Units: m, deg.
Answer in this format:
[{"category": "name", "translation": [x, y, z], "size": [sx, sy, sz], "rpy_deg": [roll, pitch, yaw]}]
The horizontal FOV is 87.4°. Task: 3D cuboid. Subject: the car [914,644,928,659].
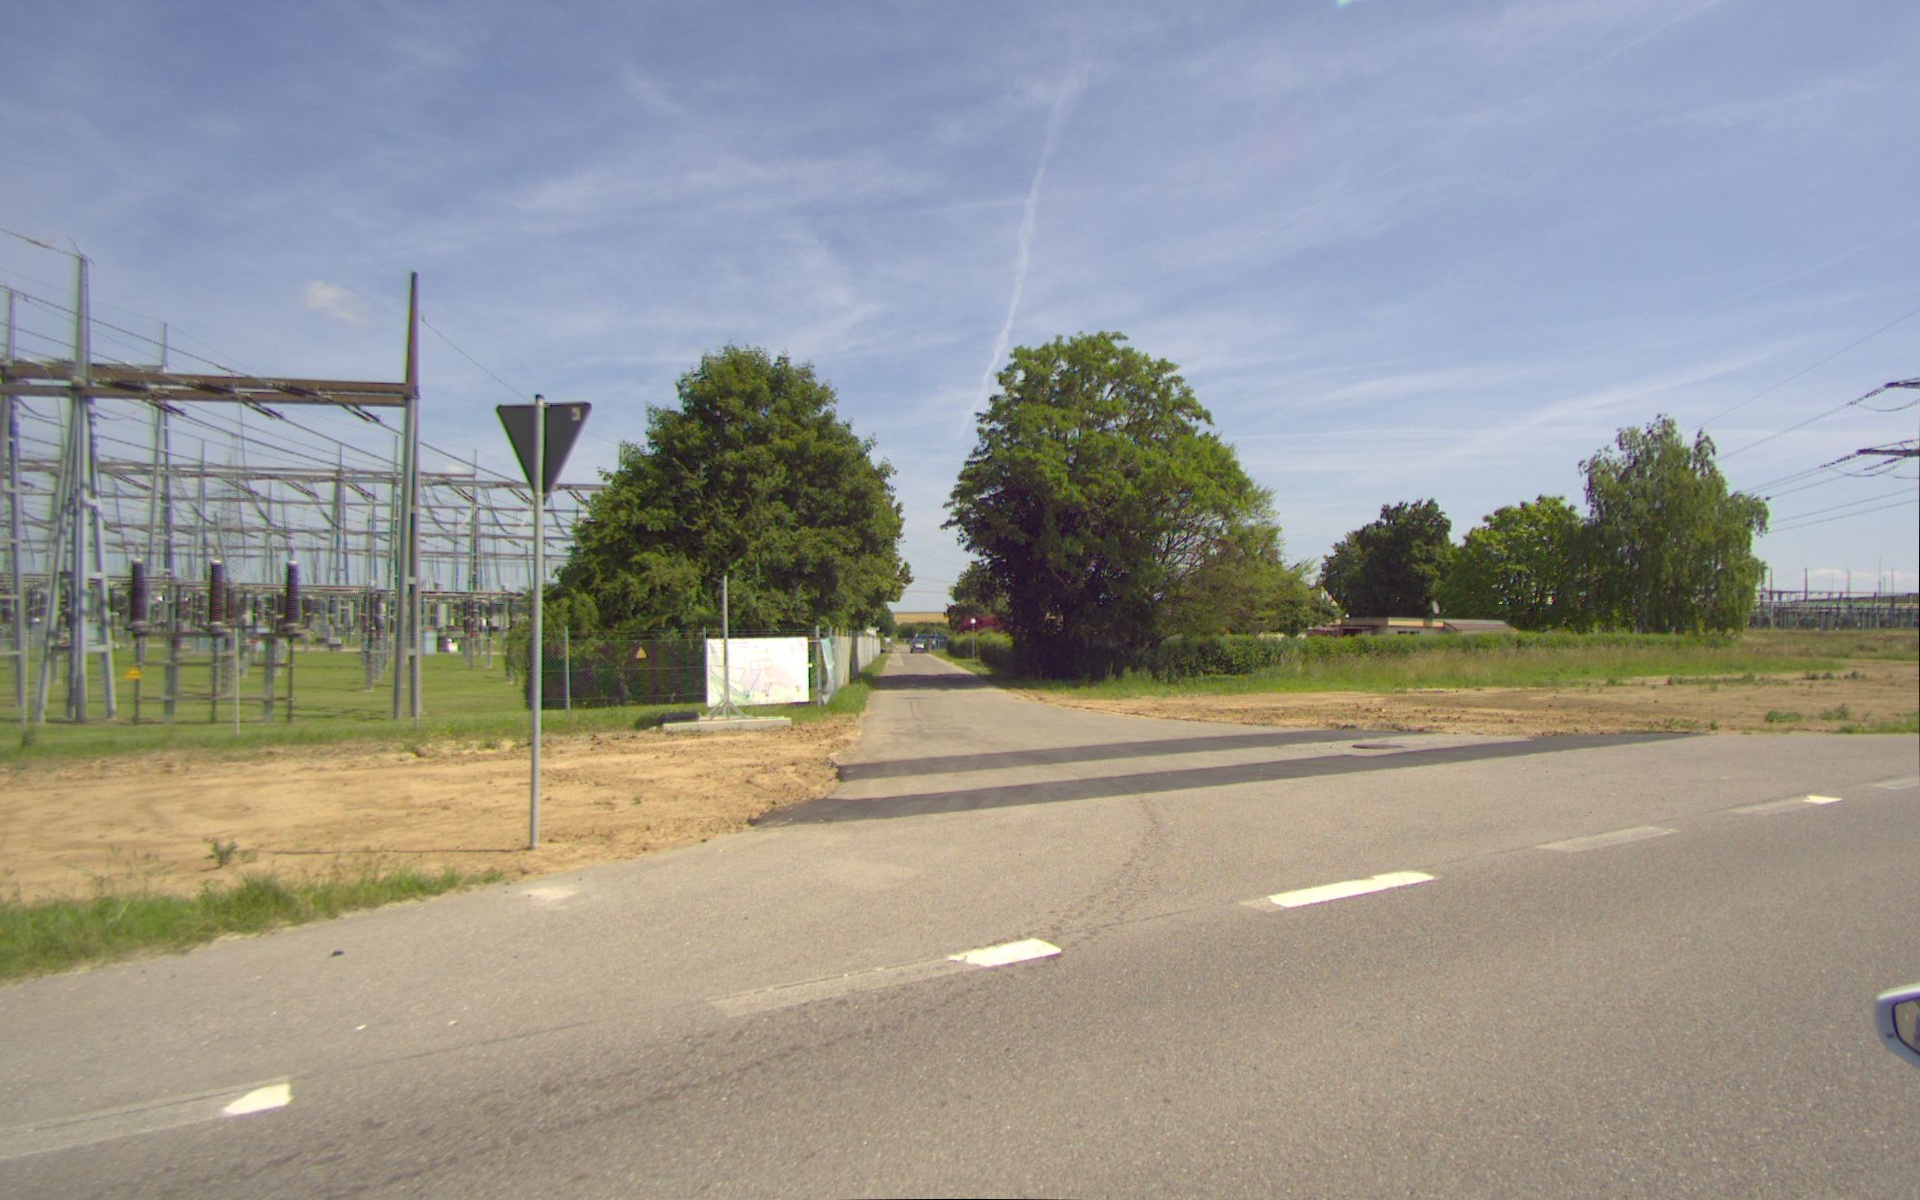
[{"category": "car", "translation": [-5.598, 7.396, 143.406], "size": [1.876, 1.914, 3.998], "rpy_deg": [2, 0, -3]}]
